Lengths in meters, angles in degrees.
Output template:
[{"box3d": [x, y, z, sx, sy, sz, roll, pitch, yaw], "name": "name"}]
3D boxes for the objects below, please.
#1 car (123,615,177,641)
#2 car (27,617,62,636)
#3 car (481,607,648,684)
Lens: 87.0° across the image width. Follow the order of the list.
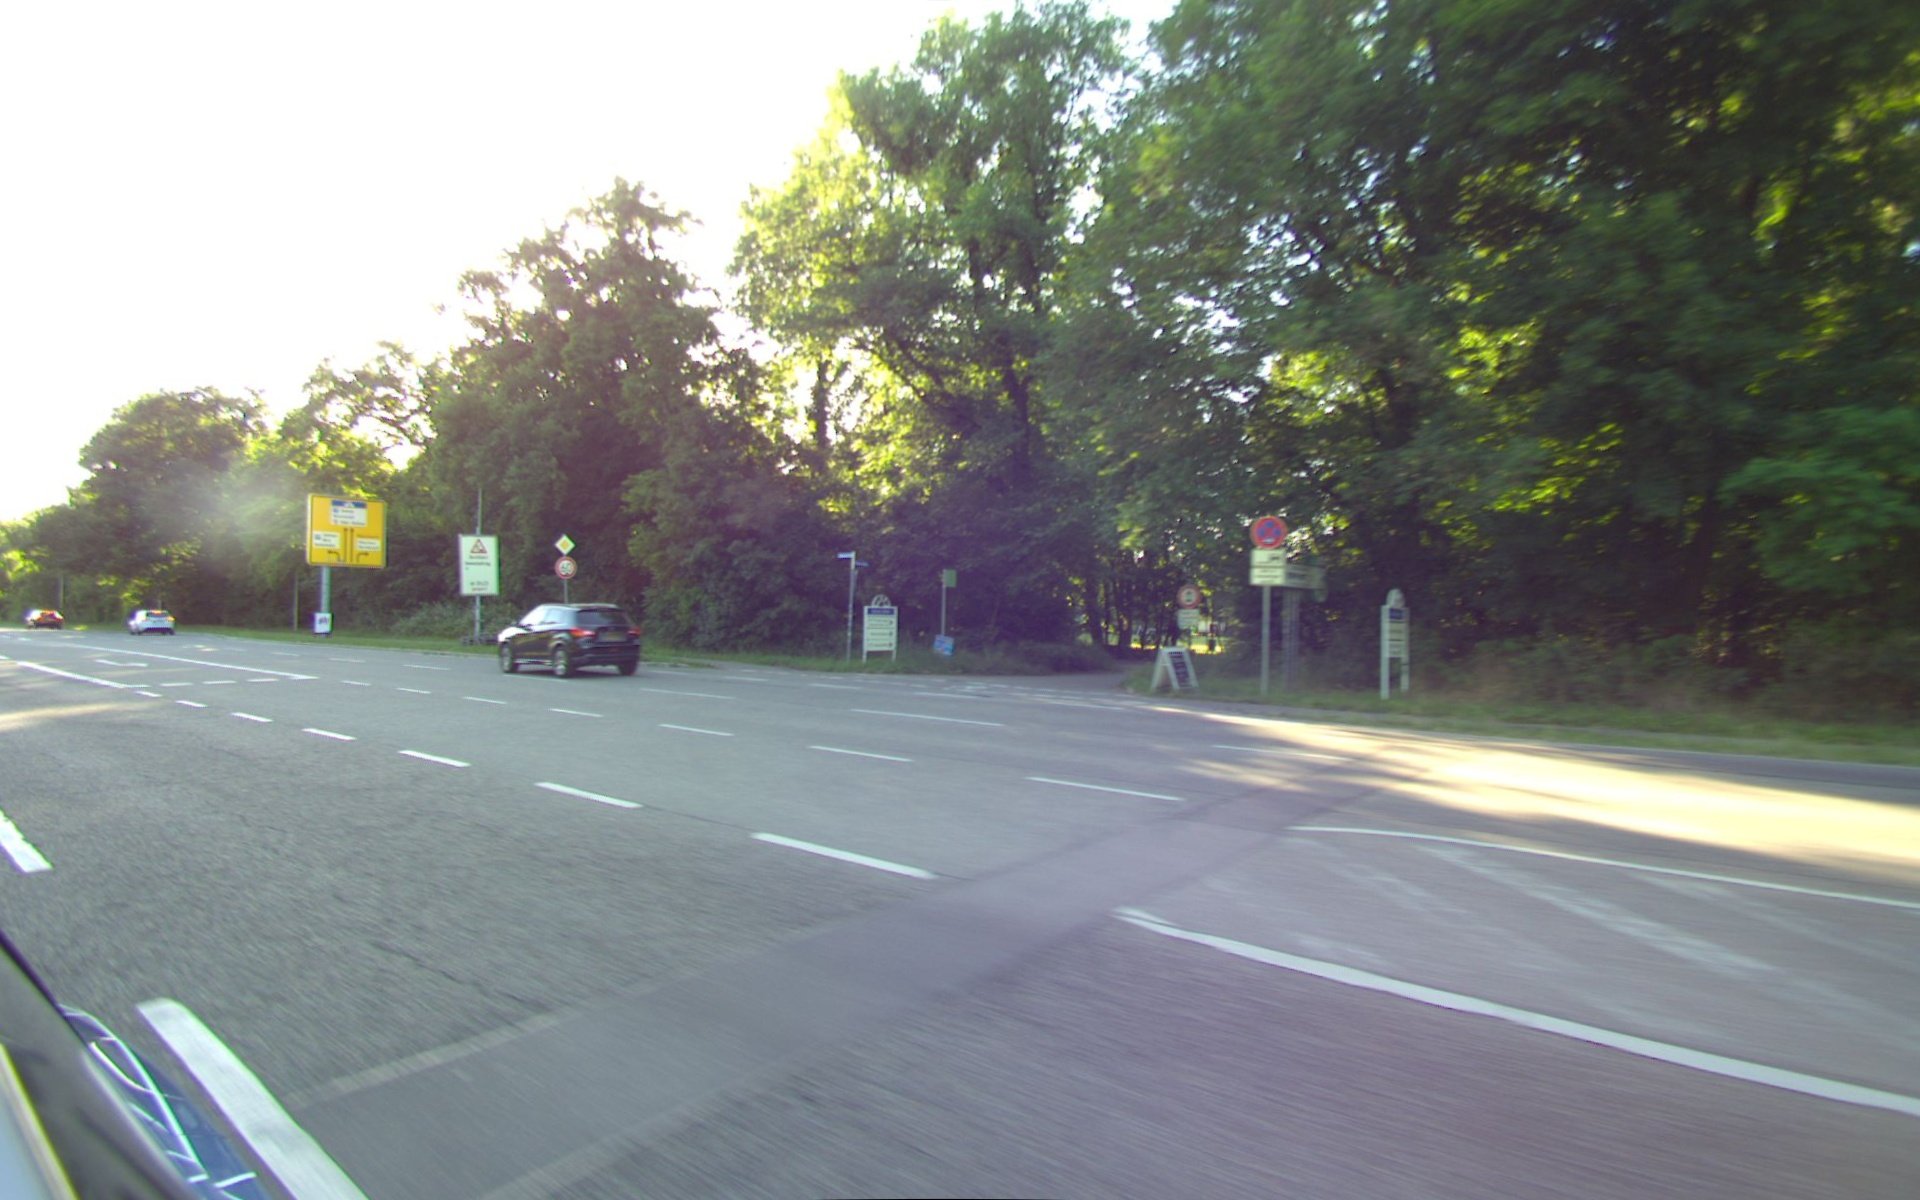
[{"box3d": [-49.053, 1.699, 61.247, 4.304, 1.515, 1.806, -1, -2, 41], "name": "car"}, {"box3d": [-75.167, 2.164, 83.083, 4.256, 1.556, 1.805, -1, -2, 43], "name": "car"}, {"box3d": [-9.187, 0.991, 23.379, 4.349, 1.601, 1.806, -1, -2, 41], "name": "car"}]
